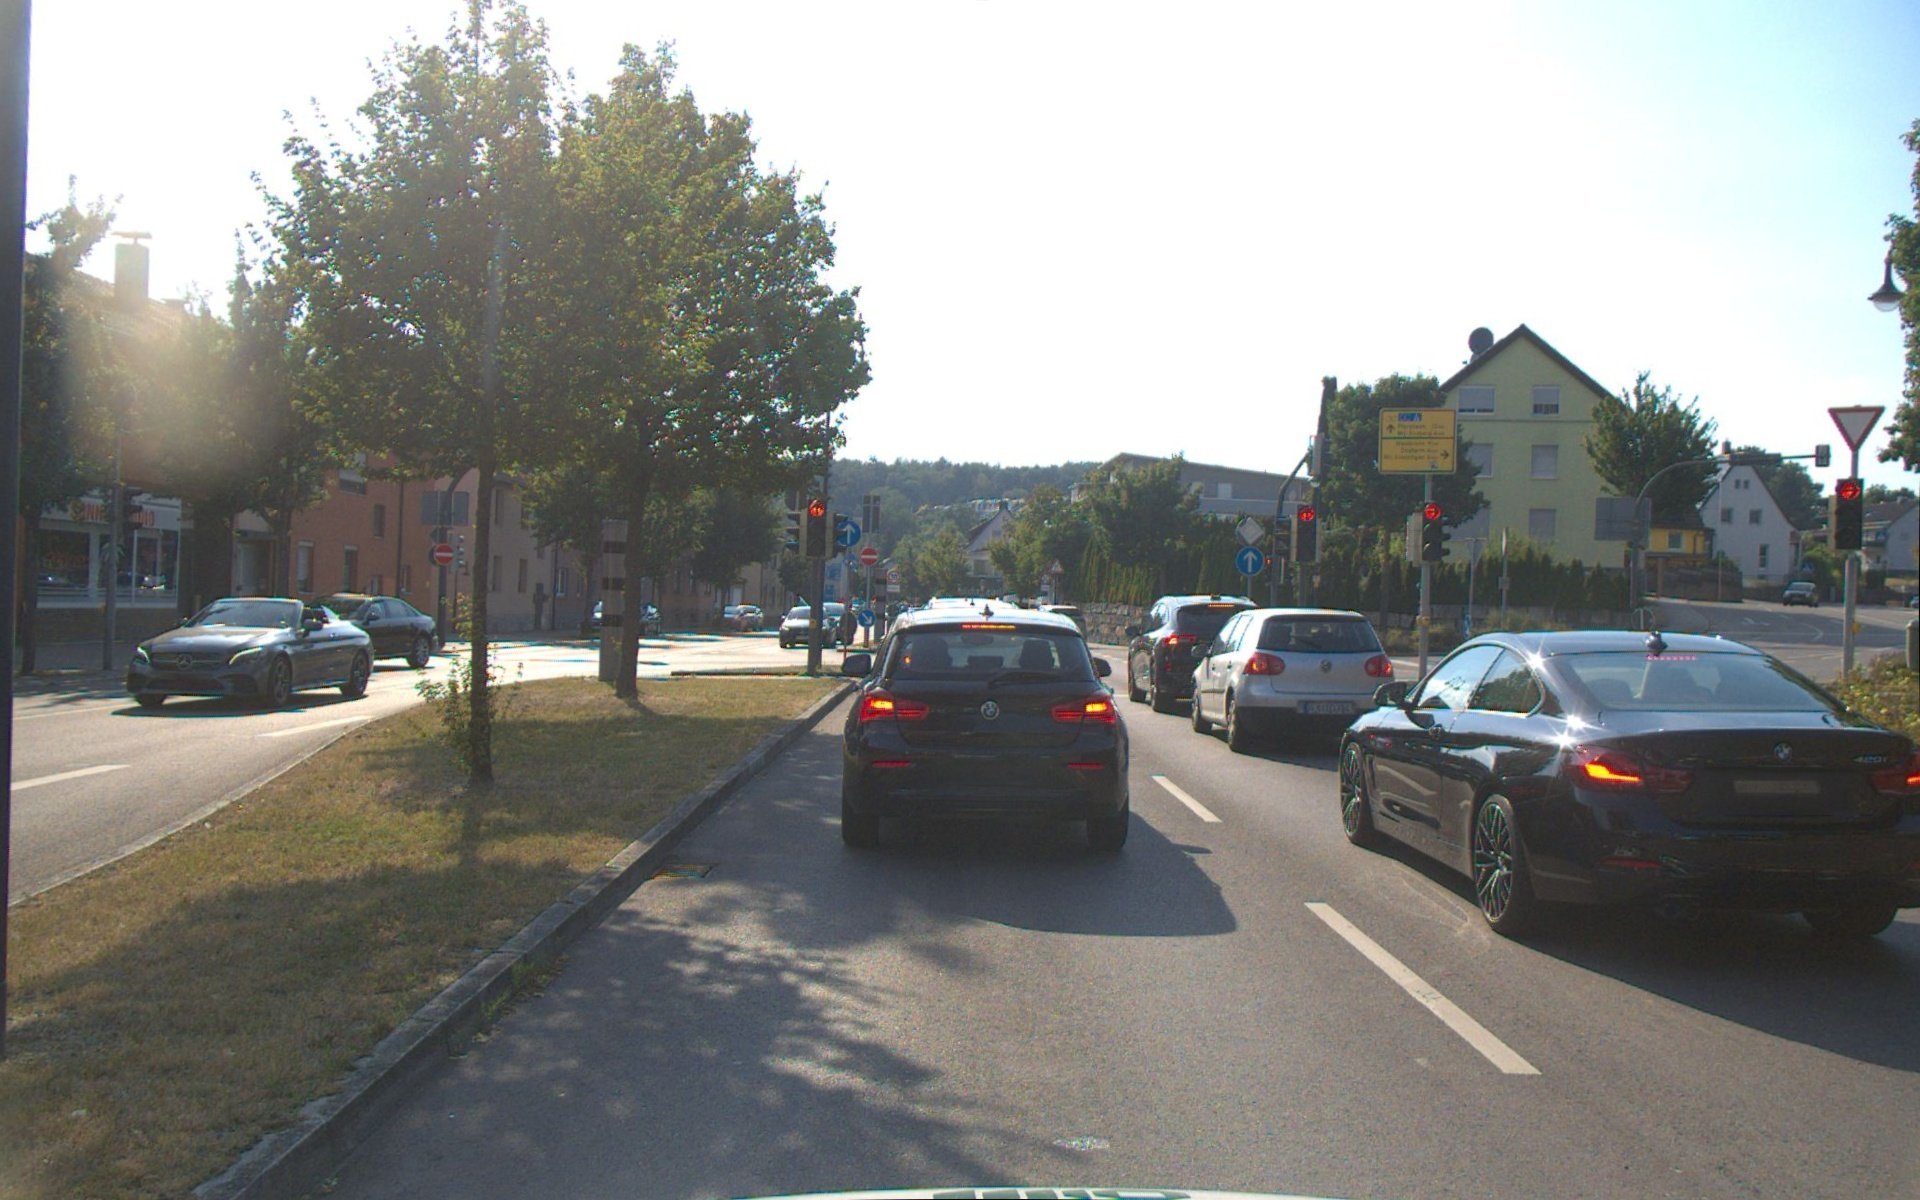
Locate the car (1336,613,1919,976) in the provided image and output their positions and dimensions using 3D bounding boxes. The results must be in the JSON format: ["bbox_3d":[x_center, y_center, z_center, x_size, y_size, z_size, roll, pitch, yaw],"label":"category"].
[{"bbox_3d":[3.390,0.809,8.873,1.779,1.413,4.347,1,0,0],"label":"car"}]

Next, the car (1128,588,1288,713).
[{"bbox_3d":[3.634,0.696,24.898,1.779,1.695,4.347,1,0,0],"label":"car"}]

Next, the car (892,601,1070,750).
[{"bbox_3d":[0.236,0.766,18.897,1.779,1.476,4.242,1,0,0],"label":"car"}]

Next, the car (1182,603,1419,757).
[{"bbox_3d":[3.637,0.790,18.422,1.779,1.471,4.347,1,0,0],"label":"car"}]

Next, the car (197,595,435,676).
[{"bbox_3d":[-12.678,0.669,32.906,1.805,1.446,4.645,1,0,20],"label":"car"}]

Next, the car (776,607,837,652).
[{"bbox_3d":[-5.462,1.027,59.179,1.730,1.484,4.000,1,0,1],"label":"car"}]

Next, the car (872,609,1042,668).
[{"bbox_3d":[-0.097,0.978,42.372,4.102,1.411,1.645,1,0,-12],"label":"car"}]

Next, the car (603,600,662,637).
[{"bbox_3d":[-15.150,0.846,76.722,1.884,1.624,4.000,1,0,1],"label":"car"}]

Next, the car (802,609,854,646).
[{"bbox_3d":[-5.266,1.087,66.432,1.658,1.377,4.000,1,0,1],"label":"car"}]

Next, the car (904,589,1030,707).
[{"bbox_3d":[0.124,0.685,25.852,1.779,1.670,4.242,1,0,0],"label":"car"}]

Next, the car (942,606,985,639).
[{"bbox_3d":[0.170,1.194,90.541,1.854,1.732,4.517,0,0,-6],"label":"car"}]

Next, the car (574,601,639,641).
[{"bbox_3d":[-15.237,0.880,71.433,1.884,1.624,4.000,1,0,1],"label":"car"}]

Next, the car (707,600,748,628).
[{"bbox_3d":[-14.235,0.854,101.549,1.884,1.624,4.000,1,0,1],"label":"car"}]

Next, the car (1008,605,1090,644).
[{"bbox_3d":[3.595,0.977,67.732,1.832,1.511,4.636,1,0,-17],"label":"car"}]

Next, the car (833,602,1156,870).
[{"bbox_3d":[0.212,0.750,11.271,1.754,1.439,4.347,1,0,1],"label":"car"}]

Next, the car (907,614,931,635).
[{"bbox_3d":[-3.247,1.941,131.651,1.885,1.624,3.999,1,0,-1],"label":"car"}]

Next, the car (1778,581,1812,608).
[{"bbox_3d":[53.530,-0.376,105.942,1.753,1.533,4.064,1,4,29],"label":"car"}]

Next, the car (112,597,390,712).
[{"bbox_3d":[-9.437,0.668,22.440,1.743,1.373,4.479,1,0,1],"label":"car"}]
